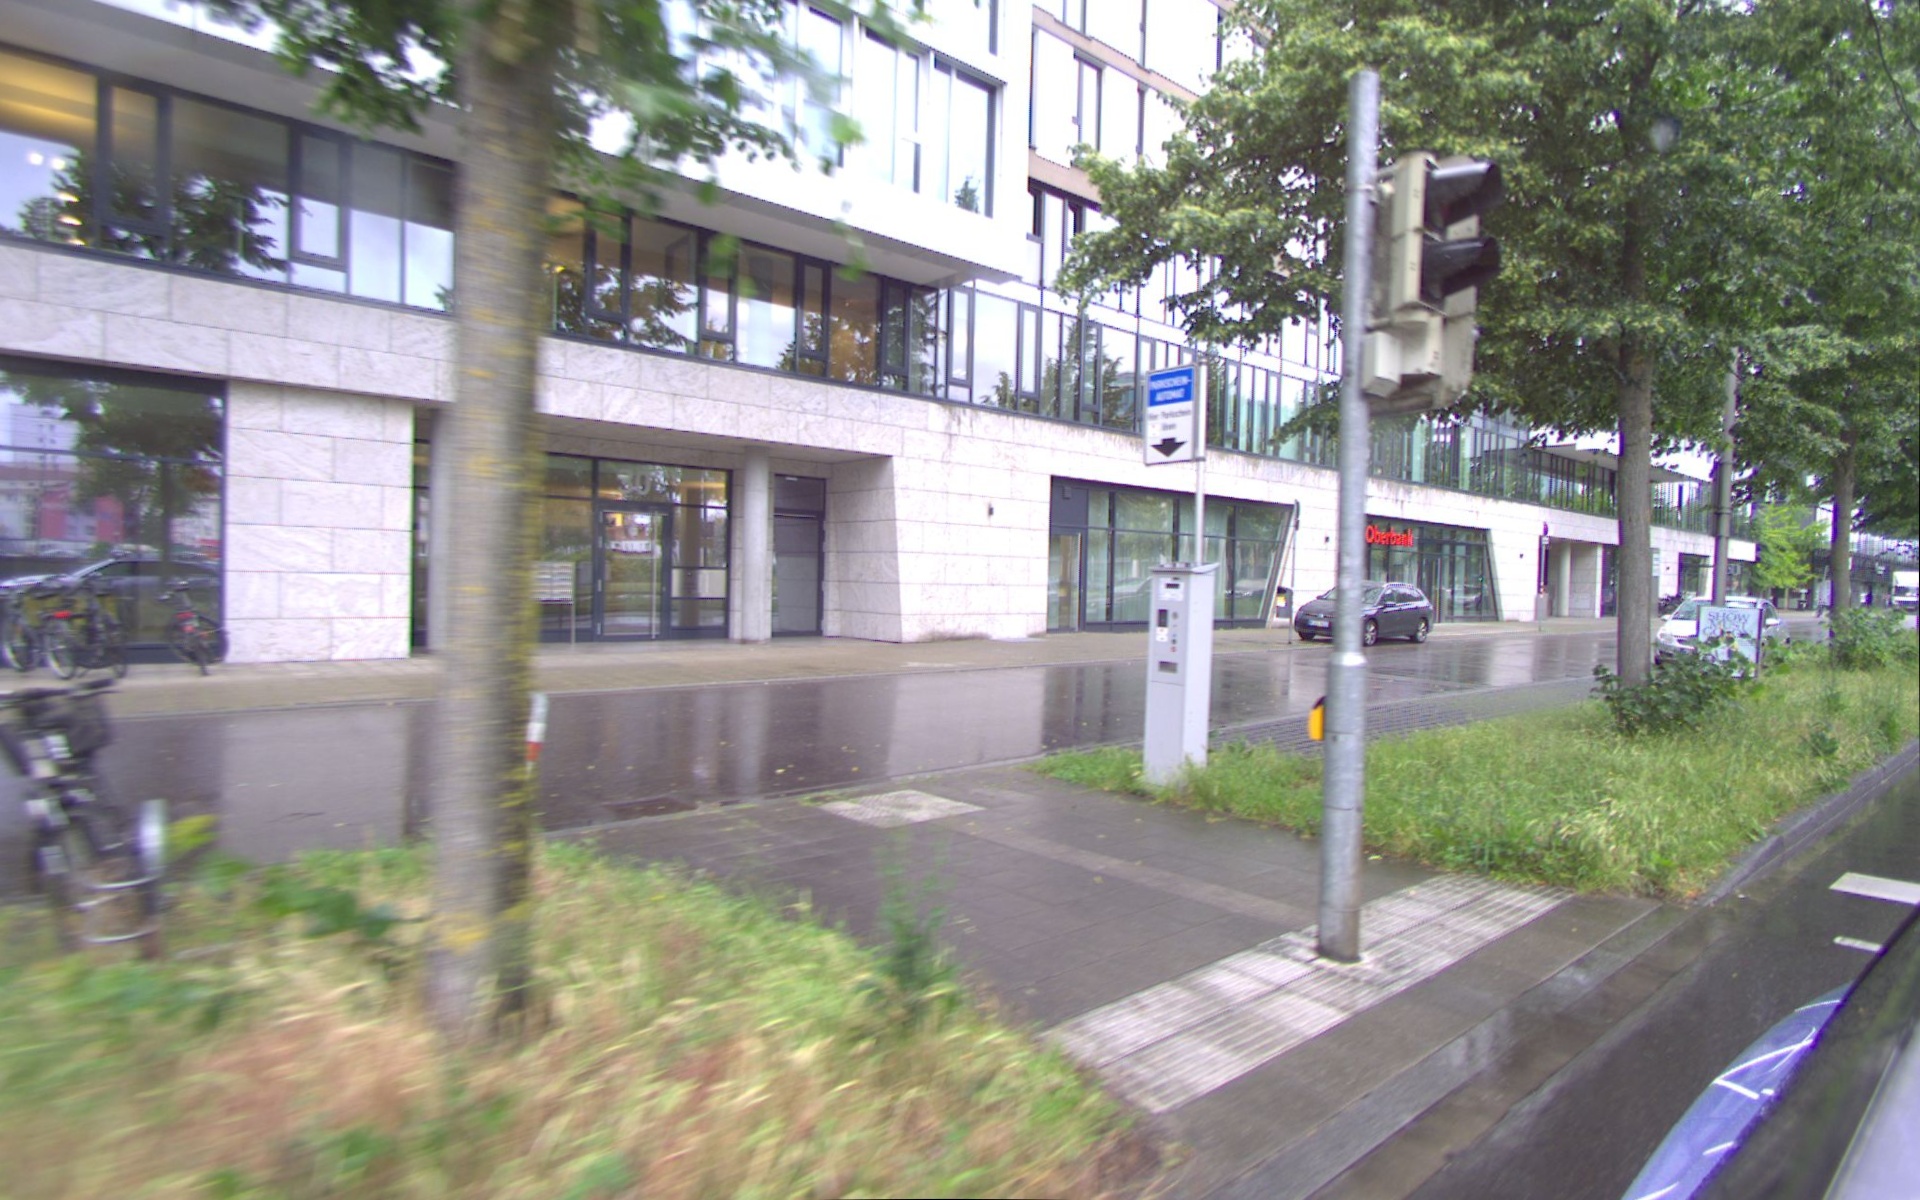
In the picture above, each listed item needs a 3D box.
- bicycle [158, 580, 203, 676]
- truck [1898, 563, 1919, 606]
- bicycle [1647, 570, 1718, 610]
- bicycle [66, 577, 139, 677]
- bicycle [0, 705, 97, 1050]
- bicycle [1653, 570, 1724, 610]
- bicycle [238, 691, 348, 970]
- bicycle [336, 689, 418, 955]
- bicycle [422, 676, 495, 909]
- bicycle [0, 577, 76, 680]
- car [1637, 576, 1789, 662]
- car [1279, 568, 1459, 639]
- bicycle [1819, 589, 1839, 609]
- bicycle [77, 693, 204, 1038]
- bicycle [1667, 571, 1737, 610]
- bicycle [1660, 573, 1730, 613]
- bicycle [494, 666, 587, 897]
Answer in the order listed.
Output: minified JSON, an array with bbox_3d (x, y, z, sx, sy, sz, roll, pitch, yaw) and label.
[{"bbox_3d":[-9.237,0.294,12.019,0.394,1.041,1.812,0,2,-37],"label":"bicycle"},{"bbox_3d":[81.206,-1.239,84.906,8.404,3.484,3.028,0,1,-43],"label":"truck"},{"bbox_3d":[35.069,-0.513,49.141,0.694,1.884,2.689,1,1,-35],"label":"bicycle"},{"bbox_3d":[-9.802,0.265,11.609,0.531,1.041,1.812,0,2,-37],"label":"bicycle"},{"bbox_3d":[-3.226,0.876,3.479,0.270,0.860,1.293,0,2,-35],"label":"bicycle"},{"bbox_3d":[35.662,-0.514,49.574,0.694,1.884,2.689,1,1,-35],"label":"bicycle"},{"bbox_3d":[-2.811,0.897,4.315,0.270,0.860,1.294,0,1,-28],"label":"bicycle"},{"bbox_3d":[-2.550,0.899,4.472,0.270,0.860,1.294,0,1,-28],"label":"bicycle"},{"bbox_3d":[-2.441,0.856,4.884,0.270,0.842,1.295,0,2,-28],"label":"bicycle"},{"bbox_3d":[-10.326,0.278,11.309,0.531,1.041,1.812,0,2,-37],"label":"bicycle"},{"bbox_3d":[15.418,0.407,20.615,1.882,1.525,4.647,2,0,44],"label":"car"},{"bbox_3d":[10.175,0.086,25.004,4.944,1.519,1.999,1,3,-40],"label":"car"},{"bbox_3d":[52.731,-0.061,61.384,2.026,1.144,0.519,0,1,-38],"label":"bicycle"},{"bbox_3d":[-3.073,0.882,3.853,0.270,0.860,1.677,0,2,-35],"label":"bicycle"},{"bbox_3d":[36.948,-0.481,50.425,0.694,1.884,2.689,1,1,-35],"label":"bicycle"},{"bbox_3d":[36.298,-0.349,50.015,0.694,1.884,2.689,1,1,-35],"label":"bicycle"},{"bbox_3d":[-2.120,0.834,5.062,0.295,0.884,1.295,0,2,-28],"label":"bicycle"}]
